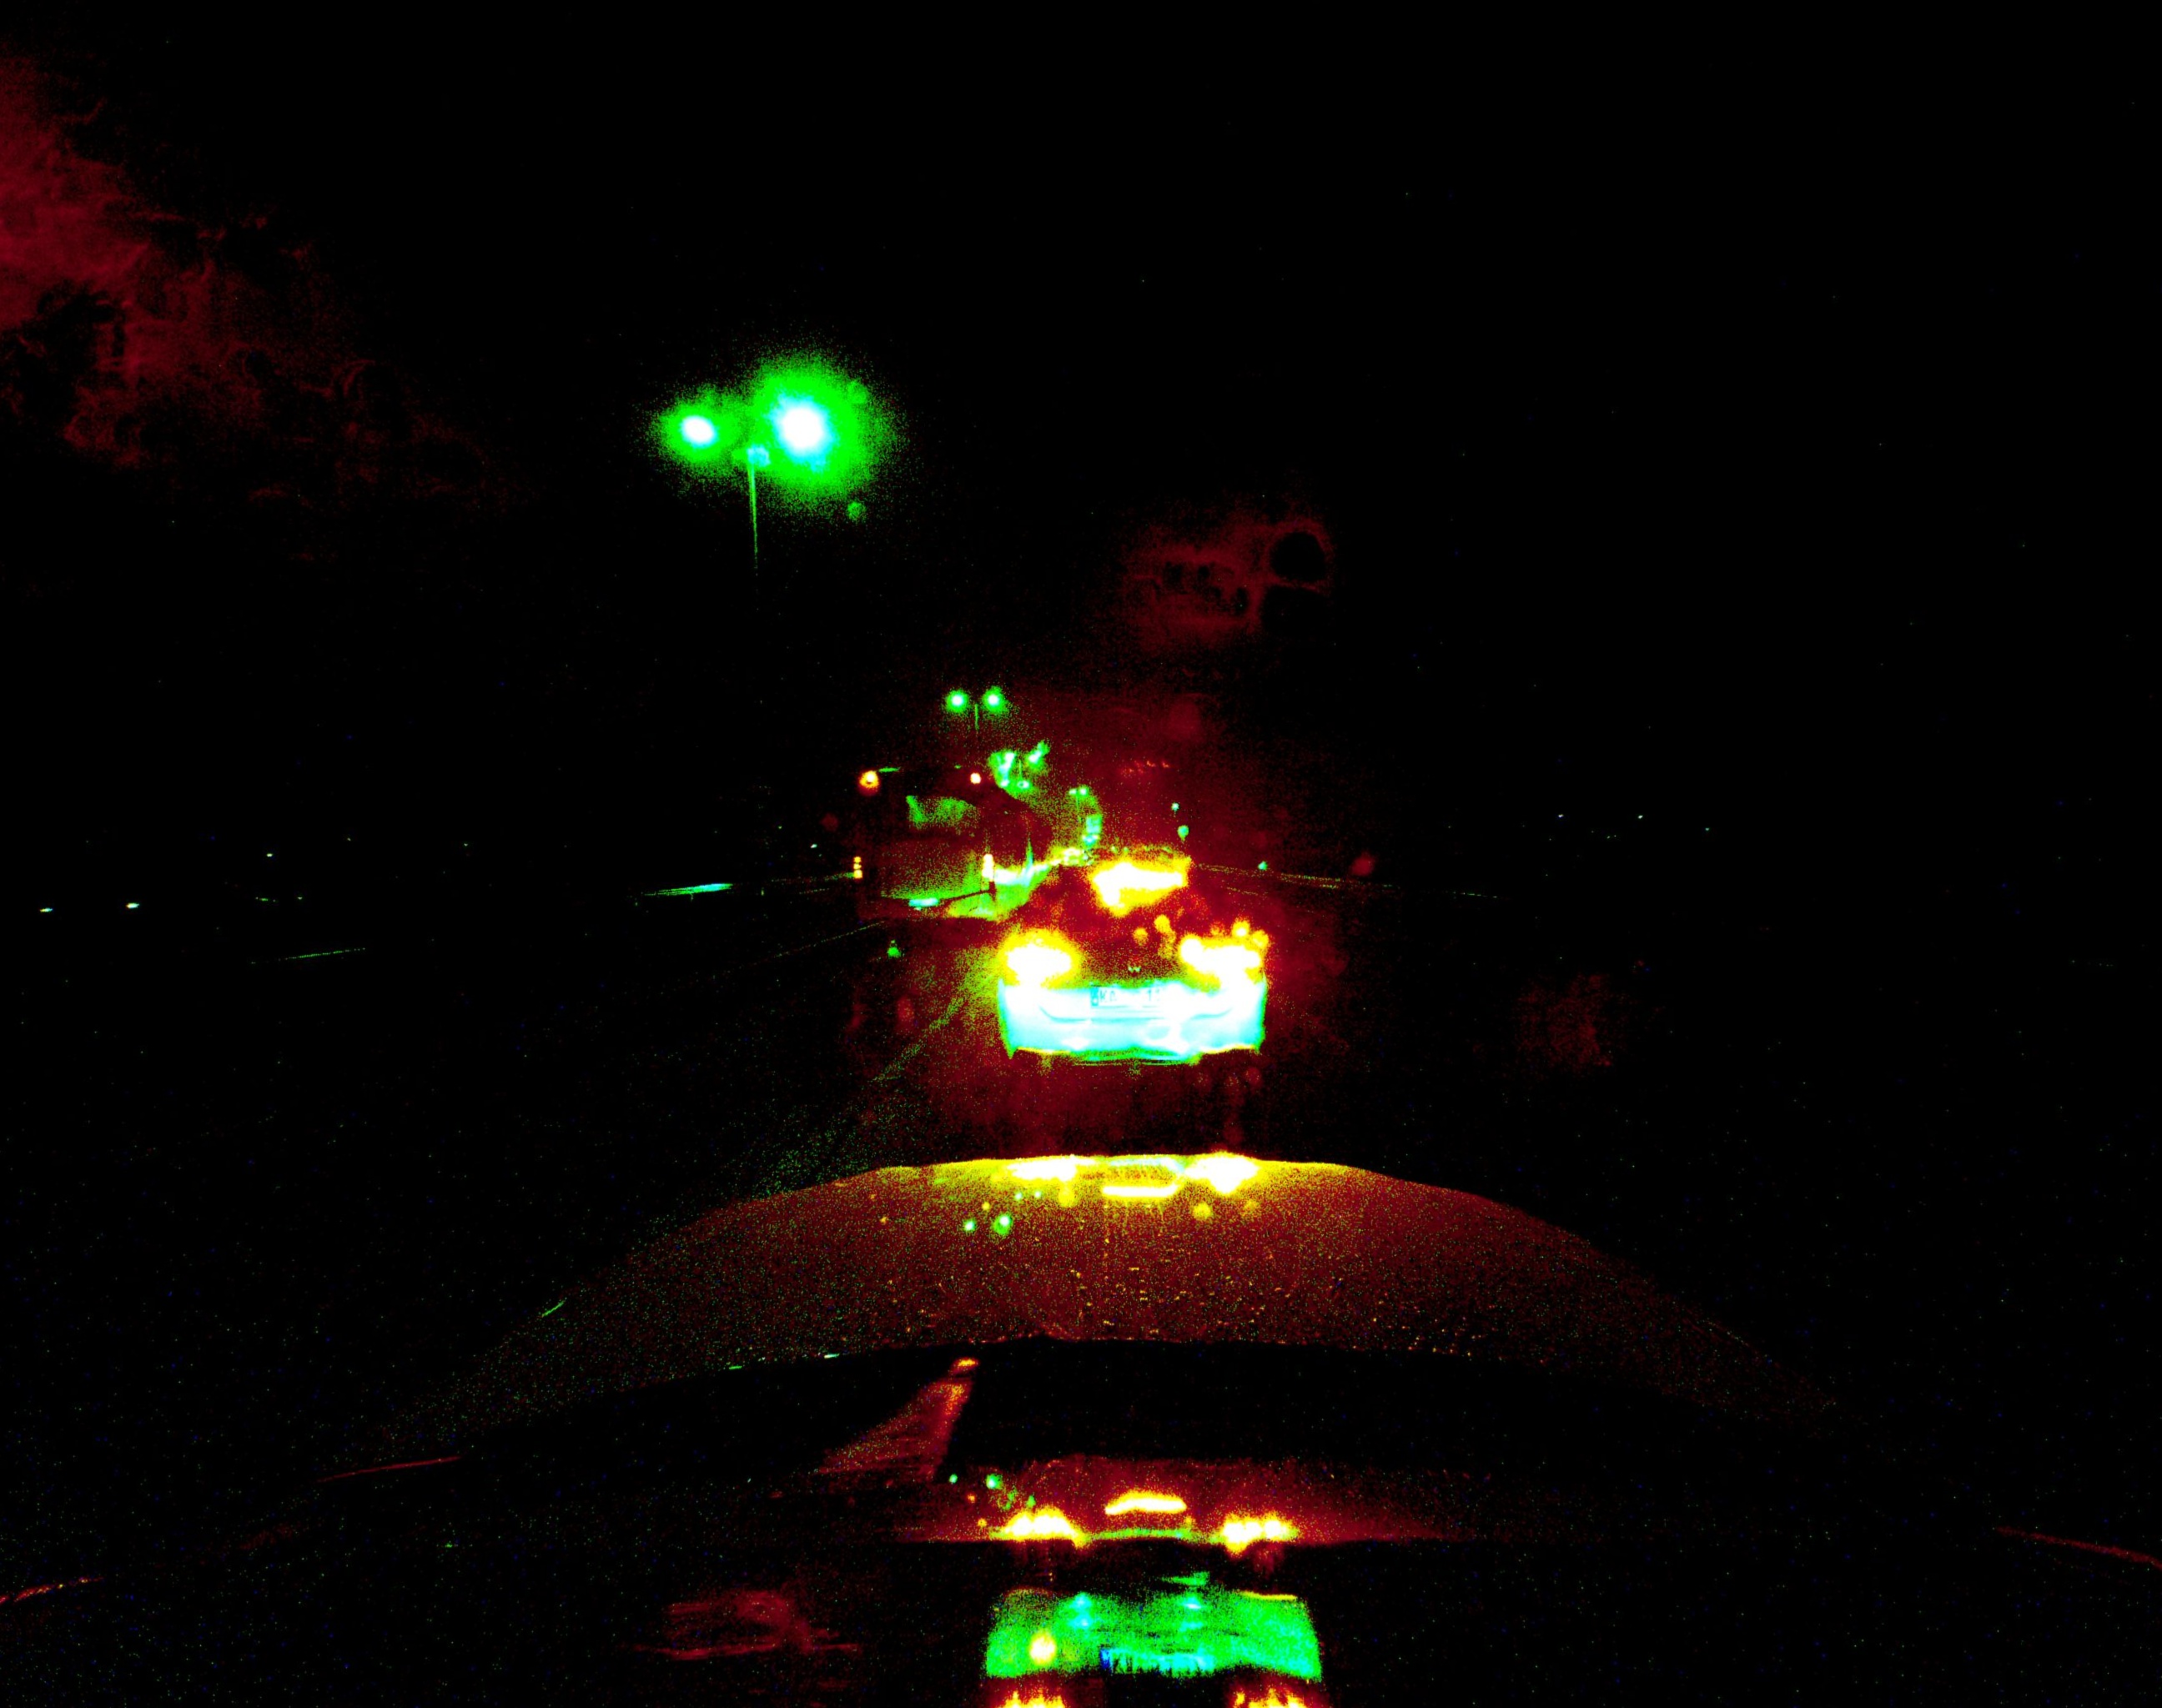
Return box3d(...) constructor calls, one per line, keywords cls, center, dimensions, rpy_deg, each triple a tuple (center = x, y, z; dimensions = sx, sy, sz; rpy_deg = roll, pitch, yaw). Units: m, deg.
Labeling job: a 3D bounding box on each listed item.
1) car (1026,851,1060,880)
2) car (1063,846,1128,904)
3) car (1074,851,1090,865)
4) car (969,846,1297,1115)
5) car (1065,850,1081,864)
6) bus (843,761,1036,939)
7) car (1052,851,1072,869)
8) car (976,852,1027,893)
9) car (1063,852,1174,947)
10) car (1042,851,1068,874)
box3d(cls="car", center=(-2.098, 0.610, 45.935), dimensions=(1.774, 1.543, 3.873), rpy_deg=(-1, 0, -1))
box3d(cls="car", center=(0.350, 0.575, 24.048), dimensions=(1.735, 1.565, 3.774), rpy_deg=(-1, 0, -2))
box3d(cls="car", center=(0.117, 0.475, 98.771), dimensions=(1.773, 1.543, 3.876), rpy_deg=(-1, 0, 1))
box3d(cls="car", center=(0.364, 0.707, 6.868), dimensions=(1.815, 1.484, 4.569), rpy_deg=(-1, 0, 2))
box3d(cls="car", center=(-1.135, 0.416, 115.521), dimensions=(1.986, 2.013, 4.002), rpy_deg=(-1, 0, 2))
box3d(cls="bus", center=(-2.682, -0.086, 18.387), dimensions=(2.806, 3.024, 8.685), rpy_deg=(-1, 0, 0))
box3d(cls="car", center=(-1.710, 0.538, 74.257), dimensions=(1.775, 1.543, 3.872), rpy_deg=(-1, 0, -2))
box3d(cls="car", center=(-3.218, 0.712, 33.549), dimensions=(1.775, 1.543, 3.872), rpy_deg=(-1, 0, -2))
box3d(cls="car", center=(0.595, 0.707, 15.115), dimensions=(1.726, 1.449, 4.724), rpy_deg=(-1, 0, 0))
box3d(cls="car", center=(-1.874, 0.593, 59.246), dimensions=(1.774, 1.543, 3.874), rpy_deg=(-1, 0, 0))
